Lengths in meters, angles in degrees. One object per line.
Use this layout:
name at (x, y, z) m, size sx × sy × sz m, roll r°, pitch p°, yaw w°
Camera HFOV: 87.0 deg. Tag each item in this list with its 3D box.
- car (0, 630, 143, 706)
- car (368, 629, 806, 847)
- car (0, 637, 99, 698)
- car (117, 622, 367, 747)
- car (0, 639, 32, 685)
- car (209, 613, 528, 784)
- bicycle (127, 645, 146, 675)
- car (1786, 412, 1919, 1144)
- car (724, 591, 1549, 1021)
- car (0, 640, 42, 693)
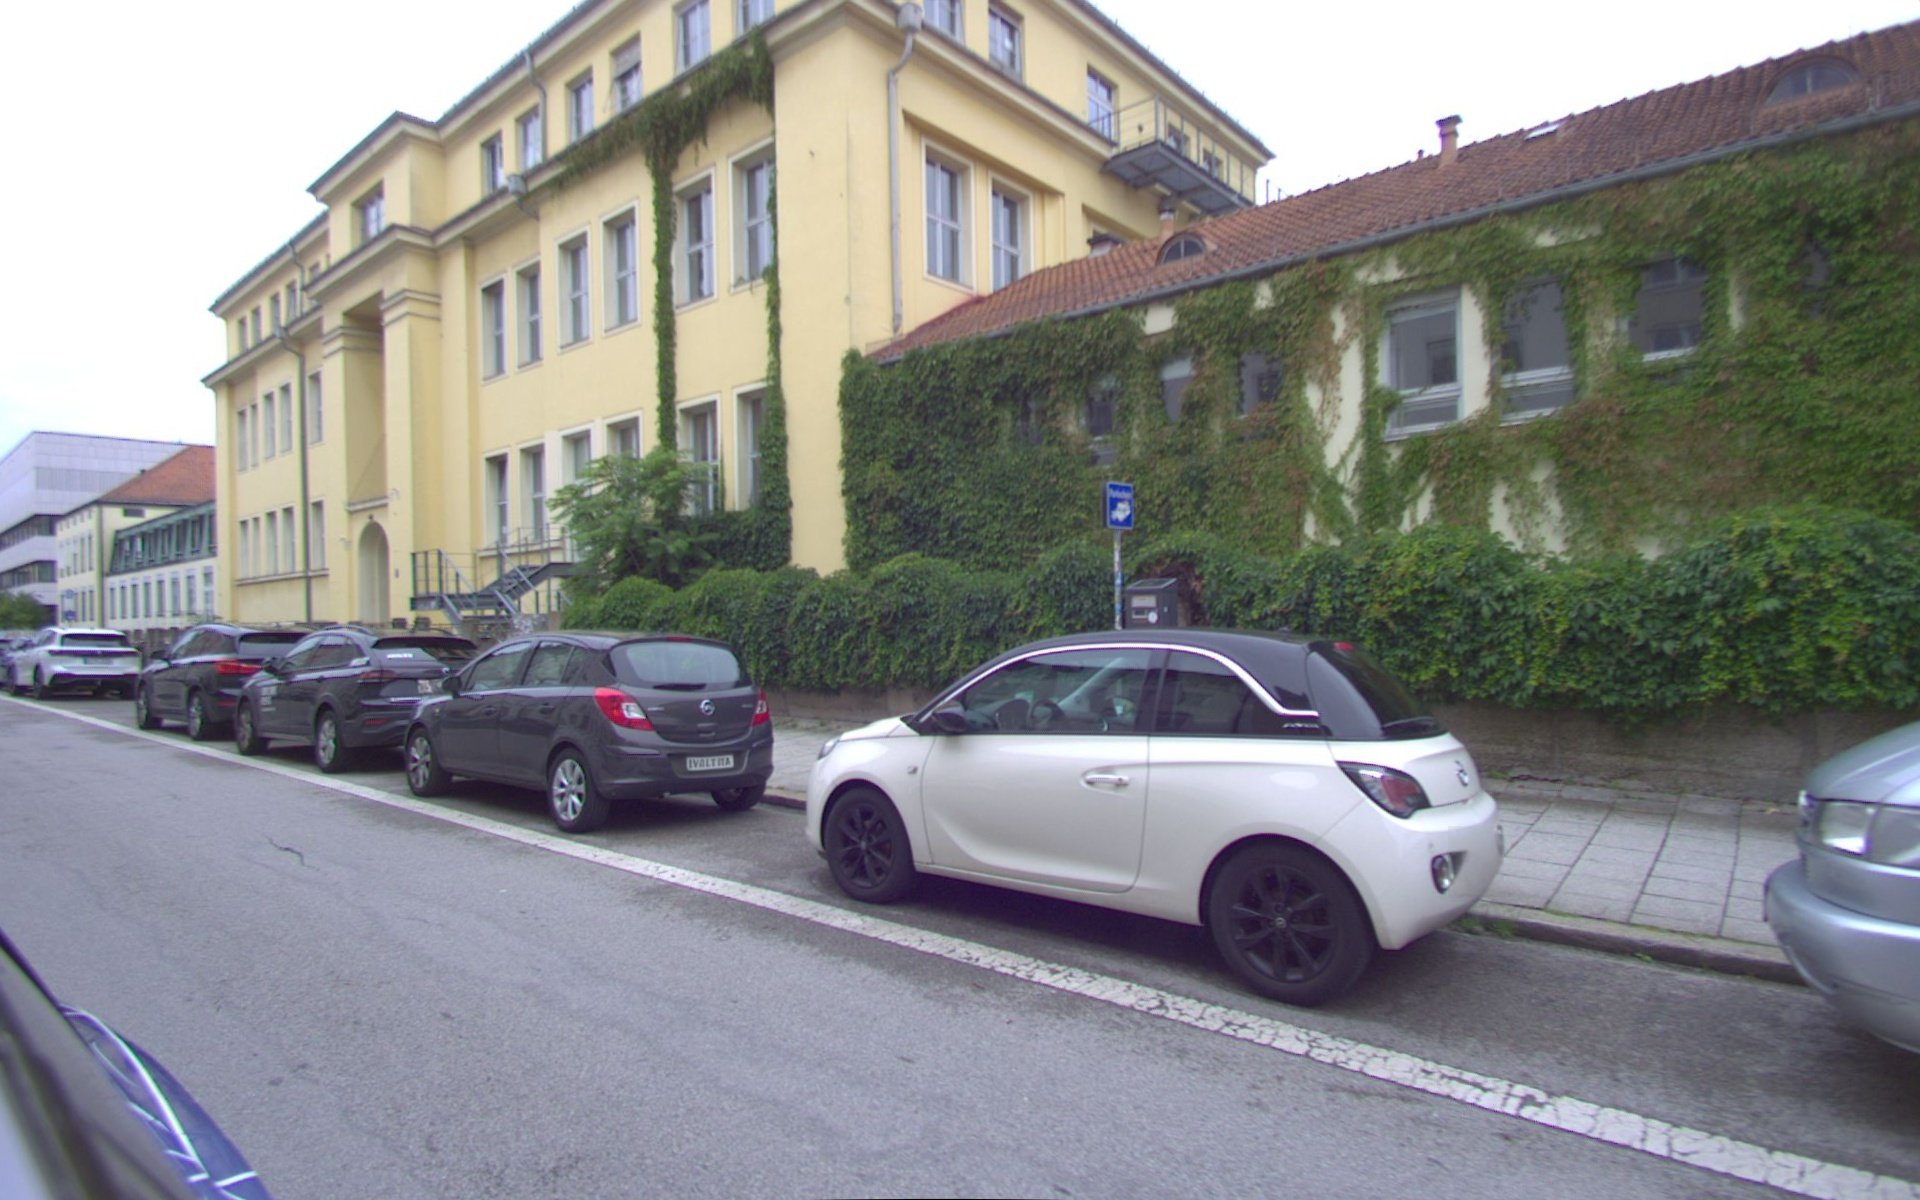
car at (-21.204, 1.543, 24.039) m, size 4.849 × 1.646 × 1.729 m, roll -2°, pitch -2°, yaw 38°
car at (-3.355, 1.001, 8.698) m, size 4.247 × 1.441 × 1.587 m, roll -2°, pitch -4°, yaw 40°
car at (-24.927, 1.799, 27.314) m, size 4.490 × 1.514 × 1.686 m, roll -2°, pitch -6°, yaw 39°
car at (-10.871, 1.174, 15.179) m, size 4.812 × 1.599 × 1.771 m, roll -2°, pitch -4°, yaw 39°
car at (-32.784, 2.069, 34.022) m, size 4.649 × 1.442 × 1.766 m, roll -2°, pitch -1°, yaw 41°
car at (-7.001, 1.026, 11.790) m, size 4.461 × 1.642 × 1.707 m, roll -2°, pitch -3°, yaw 39°
bicycle at (-31.559, 2.281, 38.766) m, size 0.530 × 1.071 × 1.643 m, roll -1°, pitch -1°, yaw -39°
car at (4.712, 0.447, 1.927) m, size 4.772 × 1.904 × 1.867 m, roll -2°, pitch -4°, yaw 42°
car at (0.663, 0.770, 5.325) m, size 4.014 × 1.452 × 1.575 m, roll -2°, pitch -3°, yaw 39°
car at (-29.046, 1.945, 30.344) m, size 4.146 × 1.508 × 1.682 m, roll -2°, pitch -5°, yaw 41°
